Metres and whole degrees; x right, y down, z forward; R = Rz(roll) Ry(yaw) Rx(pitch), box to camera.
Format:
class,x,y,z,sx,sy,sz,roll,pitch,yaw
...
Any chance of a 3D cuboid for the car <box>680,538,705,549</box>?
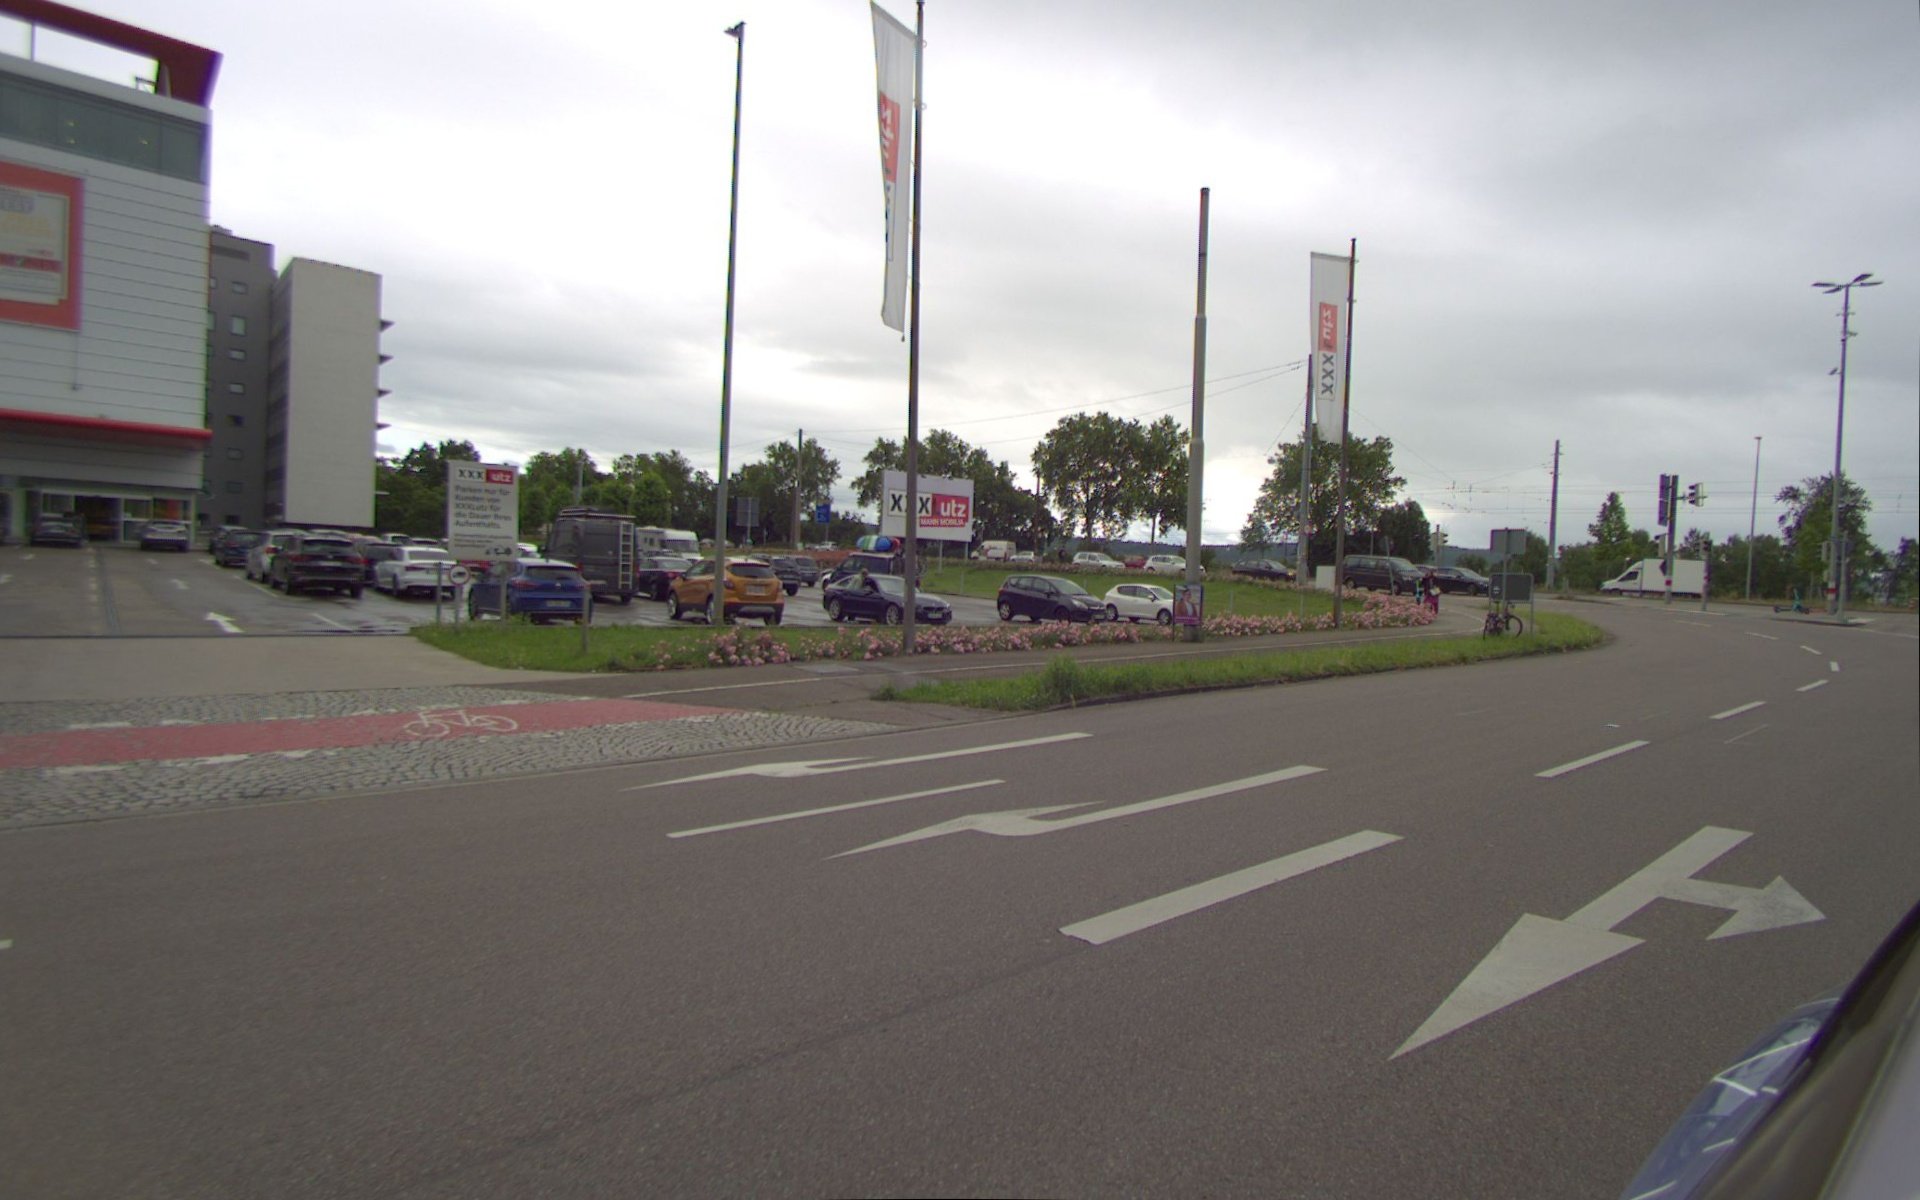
class,x,y,z,sx,sy,sz,roll,pitch,yaw
car,-44.146,-9.258,166.948,4.301,1.581,1.834,4,0,42

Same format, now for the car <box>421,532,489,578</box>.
class,x,y,z,sx,sy,sz,roll,pitch,yaw
car,-22.264,-1.981,44.568,1.801,1.884,3.996,0,2,-40

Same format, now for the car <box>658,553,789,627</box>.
class,x,y,z,sx,sy,sz,roll,pitch,yaw
car,-6.039,-0.300,25.545,1.781,1.663,4.000,0,3,-36

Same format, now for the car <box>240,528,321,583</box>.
class,x,y,z,sx,sy,sz,roll,pitch,yaw
car,-21.700,-1.431,32.260,1.664,1.600,3.902,1,2,-41

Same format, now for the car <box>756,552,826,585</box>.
class,x,y,z,sx,sy,sz,roll,pitch,yaw
car,-9.305,-1.760,55.666,1.854,1.686,3.992,1,2,-44

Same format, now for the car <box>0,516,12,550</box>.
class,x,y,z,sx,sy,sz,roll,pitch,yaw
car,-44.369,-3.095,45.923,1.692,1.495,3.536,3,0,-40

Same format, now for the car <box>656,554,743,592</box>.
class,x,y,z,sx,sy,sz,roll,pitch,yaw
car,-10.917,-1.155,42.293,3.892,1.486,1.803,3,3,44

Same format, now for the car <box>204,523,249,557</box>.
class,x,y,z,sx,sy,sz,roll,pitch,yaw
car,-37.323,-3.062,51.462,1.621,1.579,3.614,2,3,-39

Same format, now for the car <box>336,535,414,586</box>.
class,x,y,z,sx,sy,sz,roll,pitch,yaw
car,-19.115,-1.292,33.005,1.627,1.575,3.675,0,2,-40

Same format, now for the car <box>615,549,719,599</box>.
class,x,y,z,sx,sy,sz,roll,pitch,yaw
car,-10.062,-0.917,34.548,1.965,1.588,3.996,0,2,-40

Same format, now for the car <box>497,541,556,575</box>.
class,x,y,z,sx,sy,sz,roll,pitch,yaw
car,-22.333,-2.160,52.070,1.746,1.550,3.998,1,3,-39

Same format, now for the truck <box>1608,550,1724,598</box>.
class,x,y,z,sx,sy,sz,roll,pitch,yaw
truck,50.092,-1.894,71.895,6.510,2.959,2.790,5,1,37

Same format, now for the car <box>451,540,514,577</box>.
class,x,y,z,sx,sy,sz,roll,pitch,yaw
car,-23.367,-2.047,49.467,1.915,1.673,3.998,0,3,-38

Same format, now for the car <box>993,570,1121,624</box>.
class,x,y,z,sx,sy,sz,roll,pitch,yaw
car,3.178,-0.124,33.859,1.740,1.603,4.097,2,1,-43

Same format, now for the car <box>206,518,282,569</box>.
class,x,y,z,sx,sy,sz,roll,pitch,yaw
car,-27.876,-2.214,39.346,1.823,1.797,4.191,2,3,-43

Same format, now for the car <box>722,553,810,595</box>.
class,x,y,z,sx,sy,sz,roll,pitch,yaw
car,-8.377,-1.133,43.511,1.966,1.696,3.993,0,2,-42

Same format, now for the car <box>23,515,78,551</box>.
class,x,y,z,sx,sy,sz,roll,pitch,yaw
car,-42.434,-3.121,47.277,1.692,1.495,3.536,3,0,-40

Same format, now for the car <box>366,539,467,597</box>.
class,x,y,z,sx,sy,sz,roll,pitch,yaw
car,-15.929,-0.968,29.561,1.831,1.571,3.996,0,3,-40

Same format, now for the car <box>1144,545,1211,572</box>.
class,x,y,z,sx,sy,sz,roll,pitch,yaw
car,14.177,-2.699,66.136,1.703,1.558,4.041,3,1,-41

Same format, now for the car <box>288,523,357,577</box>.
class,x,y,z,sx,sy,sz,roll,pitch,yaw
car,-26.084,-2.023,41.356,1.851,2.073,3.995,0,2,-40

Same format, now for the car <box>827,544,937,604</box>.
class,x,y,z,sx,sy,sz,roll,pitch,yaw
car,-3.242,-1.105,41.135,2.082,2.191,5.053,0,3,-36

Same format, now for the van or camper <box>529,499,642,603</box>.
class,x,y,z,sx,sy,sz,roll,pitch,yaw
van or camper,-12.058,-1.547,32.345,1.953,3.020,5.399,1,2,-36

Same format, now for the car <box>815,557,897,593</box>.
class,x,y,z,sx,sy,sz,roll,pitch,yaw
car,-4.811,-1.151,46.427,1.714,1.494,4.208,0,3,-39

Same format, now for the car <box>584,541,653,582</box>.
class,x,y,z,sx,sy,sz,roll,pitch,yaw
car,-16.750,-1.888,49.564,1.831,1.802,4.222,1,3,-38

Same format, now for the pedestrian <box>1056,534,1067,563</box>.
class,x,y,z,sx,sy,sz,roll,pitch,yaw
pedestrian,6.562,-3.352,65.516,0.624,1.804,0.545,3,0,10

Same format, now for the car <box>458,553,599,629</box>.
class,x,y,z,sx,sy,sz,roll,pitch,yaw
car,-9.496,-0.251,22.103,1.782,1.473,3.996,0,3,-40

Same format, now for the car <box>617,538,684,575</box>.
class,x,y,z,sx,sy,sz,roll,pitch,yaw
car,-17.482,-2.464,57.048,1.968,1.974,3.990,-1,3,-45

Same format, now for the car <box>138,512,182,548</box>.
class,x,y,z,sx,sy,sz,roll,pitch,yaw
car,-39.688,-3.484,50.197,1.621,1.579,3.614,2,3,-39

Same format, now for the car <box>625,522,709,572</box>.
class,x,y,z,sx,sy,sz,roll,pitch,yaw
car,-19.751,-3.556,67.957,2.719,3.027,6.943,3,0,-40

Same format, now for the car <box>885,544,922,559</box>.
class,x,y,z,sx,sy,sz,roll,pitch,yaw
car,-6.760,-5.780,120.345,4.329,1.408,1.848,5,2,42

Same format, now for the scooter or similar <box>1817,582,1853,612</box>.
class,x,y,z,sx,sy,sz,roll,pitch,yaw
scooter or similar,38.082,-0.140,44.067,0.455,1.271,1.020,0,4,-28

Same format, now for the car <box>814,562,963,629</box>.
class,x,y,z,sx,sy,sz,roll,pitch,yaw
car,-2.103,-0.200,28.600,1.741,1.602,4.532,-5,6,-42

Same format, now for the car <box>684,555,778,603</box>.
class,x,y,z,sx,sy,sz,roll,pitch,yaw
car,-8.295,-0.786,36.366,1.910,1.575,4.001,0,2,-35

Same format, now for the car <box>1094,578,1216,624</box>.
class,x,y,z,sx,sy,sz,roll,pitch,yaw
car,7.148,0.004,37.398,1.843,1.464,4.113,3,1,-42

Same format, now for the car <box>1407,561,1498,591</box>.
class,x,y,z,sx,sy,sz,roll,pitch,yaw
car,27.172,-1.368,55.980,1.800,1.482,4.215,0,3,-28

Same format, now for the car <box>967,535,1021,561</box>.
class,x,y,z,sx,sy,sz,roll,pitch,yaw
car,3.849,-5.943,116.116,5.882,2.658,2.623,5,1,43

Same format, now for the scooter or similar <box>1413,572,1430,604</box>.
class,x,y,z,sx,sy,sz,roll,pitch,yaw
scooter or similar,18.602,-0.506,40.774,0.341,1.248,1.162,0,2,10

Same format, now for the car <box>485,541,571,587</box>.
class,x,y,z,sx,sy,sz,roll,pitch,yaw
car,-15.808,-1.327,36.947,1.822,1.575,3.996,0,2,-40

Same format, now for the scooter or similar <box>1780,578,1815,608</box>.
class,x,y,z,sx,sy,sz,roll,pitch,yaw
scooter or similar,36.915,-0.327,44.613,0.314,1.271,1.118,-1,4,-27

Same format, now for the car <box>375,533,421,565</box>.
class,x,y,z,sx,sy,sz,roll,pitch,yaw
car,-31.828,-2.900,57.255,1.621,1.579,3.614,2,3,-39

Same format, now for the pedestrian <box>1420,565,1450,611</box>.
class,x,y,z,sx,sy,sz,roll,pitch,yaw
pedestrian,17.162,-0.437,36.554,0.771,1.616,0.715,1,3,10

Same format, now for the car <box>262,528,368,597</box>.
class,x,y,z,sx,sy,sz,roll,pitch,yaw
car,-17.863,-1.057,27.949,1.800,1.674,3.898,2,3,-42

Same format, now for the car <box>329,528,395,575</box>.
class,x,y,z,sx,sy,sz,roll,pitch,yaw
car,-27.112,-2.187,45.823,1.964,2.038,3.996,0,2,-39

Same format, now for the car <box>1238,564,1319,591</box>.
class,x,y,z,sx,sy,sz,roll,pitch,yaw
car,18.834,-1.325,59.988,1.932,1.482,4.322,0,2,-36

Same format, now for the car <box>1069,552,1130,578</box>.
class,x,y,z,sx,sy,sz,roll,pitch,yaw
car,9.765,-2.488,71.076,1.717,1.622,4.067,3,0,-43

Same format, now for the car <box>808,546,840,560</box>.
class,x,y,z,sx,sy,sz,roll,pitch,yaw
car,-17.786,-6.149,132.158,4.185,1.571,1.833,5,2,41

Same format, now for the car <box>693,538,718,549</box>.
class,x,y,z,sx,sy,sz,roll,pitch,yaw
car,-39.446,-8.763,156.859,1.967,1.645,3.992,-1,3,-43

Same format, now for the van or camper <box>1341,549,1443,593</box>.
class,x,y,z,sx,sy,sz,roll,pitch,yaw
van or camper,22.771,-1.595,53.554,2.080,2.037,4.765,-1,5,-25

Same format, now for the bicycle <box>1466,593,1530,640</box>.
class,x,y,z,sx,sy,sz,roll,pitch,yaw
bicycle,13.148,0.389,24.719,1.659,1.061,0.665,-1,2,-35
